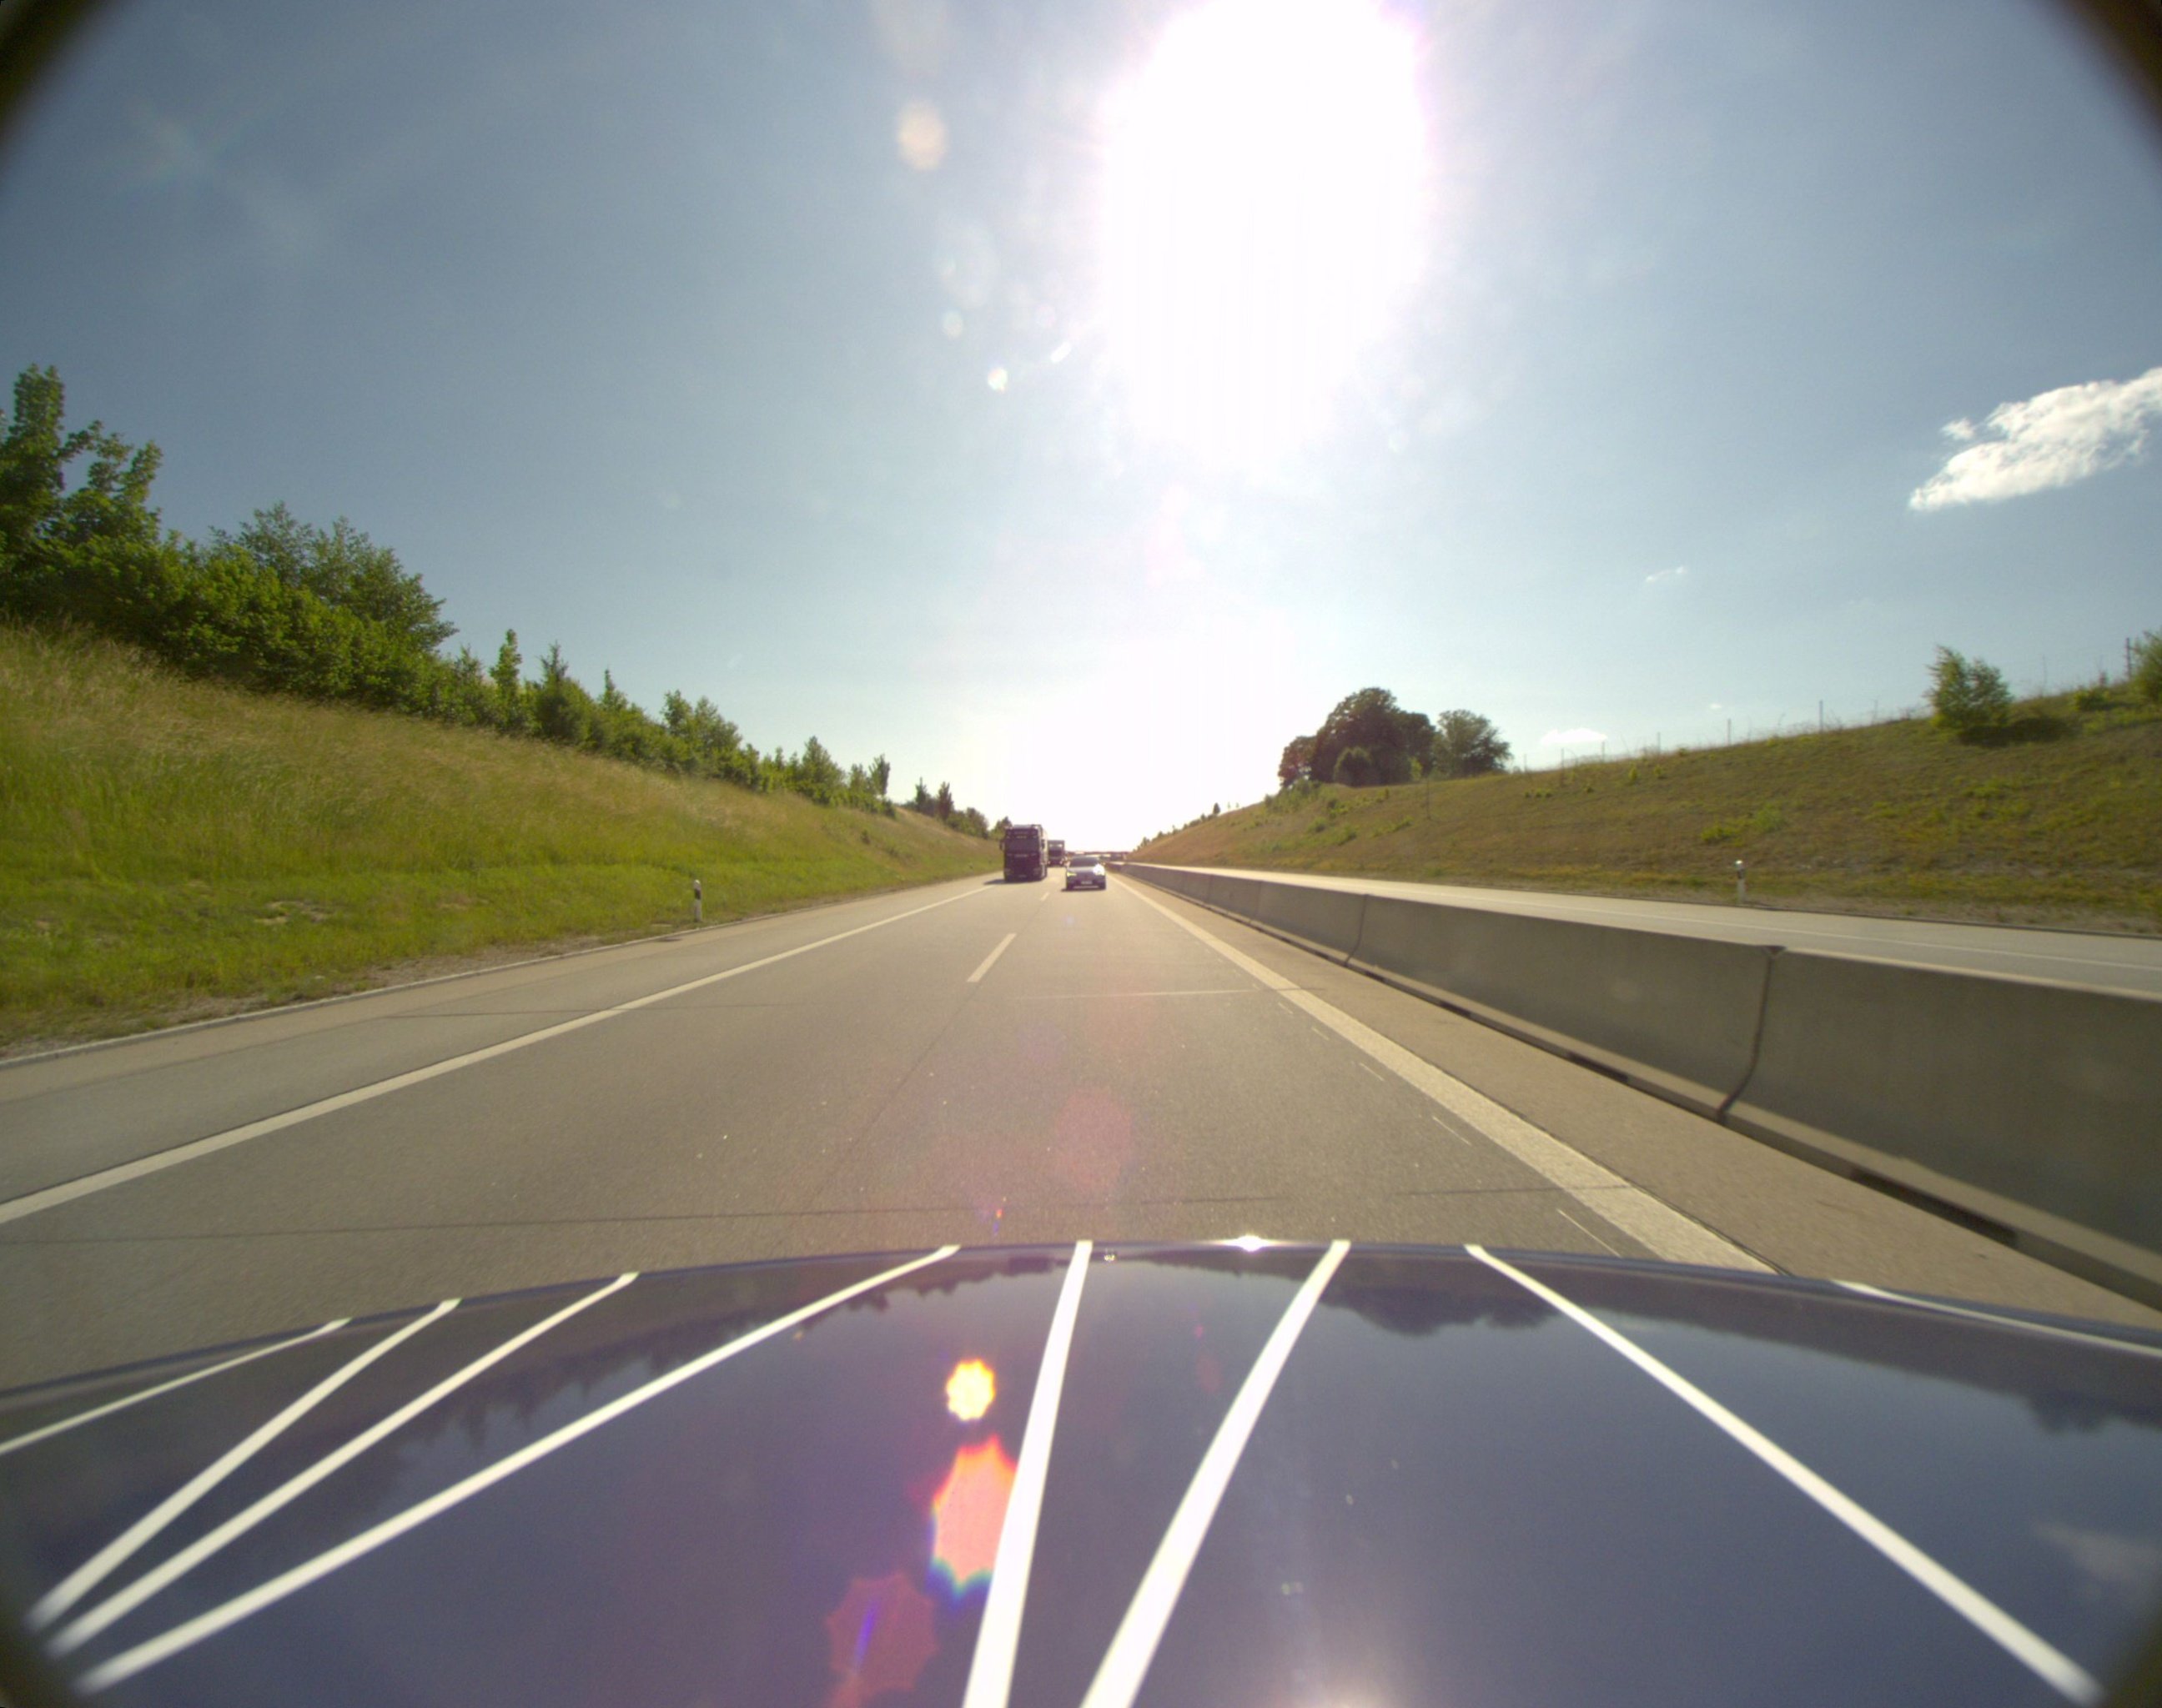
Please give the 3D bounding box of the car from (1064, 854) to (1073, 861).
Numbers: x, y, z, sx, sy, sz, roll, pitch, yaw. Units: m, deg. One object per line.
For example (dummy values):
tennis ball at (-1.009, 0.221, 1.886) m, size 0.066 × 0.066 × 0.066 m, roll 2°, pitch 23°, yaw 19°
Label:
car at (-2.569, 0.743, 160.222) m, size 1.708 × 1.433 × 3.633 m, roll 1°, pitch 0°, yaw -4°

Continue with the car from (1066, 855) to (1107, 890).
car at (0.304, 0.840, 35.942) m, size 1.795 × 1.501 × 3.636 m, roll -1°, pitch 0°, yaw 2°

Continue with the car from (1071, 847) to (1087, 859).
car at (-0.326, -0.140, 139.685) m, size 2.816 × 2.143 × 5.947 m, roll 1°, pitch 0°, yaw 0°

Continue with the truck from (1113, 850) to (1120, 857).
truck at (11.584, -0.146, 249.747) m, size 1.999 × 2.434 × 5.667 m, roll -2°, pitch 0°, yaw 0°

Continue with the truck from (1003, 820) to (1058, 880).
truck at (-3.463, -0.254, 55.652) m, size 2.623 × 3.795 × 13.404 m, roll -1°, pitch 0°, yaw 2°

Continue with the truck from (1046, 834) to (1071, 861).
truck at (-3.322, -0.908, 115.499) m, size 3.024 × 3.795 × 13.404 m, roll 1°, pitch 0°, yaw 2°
